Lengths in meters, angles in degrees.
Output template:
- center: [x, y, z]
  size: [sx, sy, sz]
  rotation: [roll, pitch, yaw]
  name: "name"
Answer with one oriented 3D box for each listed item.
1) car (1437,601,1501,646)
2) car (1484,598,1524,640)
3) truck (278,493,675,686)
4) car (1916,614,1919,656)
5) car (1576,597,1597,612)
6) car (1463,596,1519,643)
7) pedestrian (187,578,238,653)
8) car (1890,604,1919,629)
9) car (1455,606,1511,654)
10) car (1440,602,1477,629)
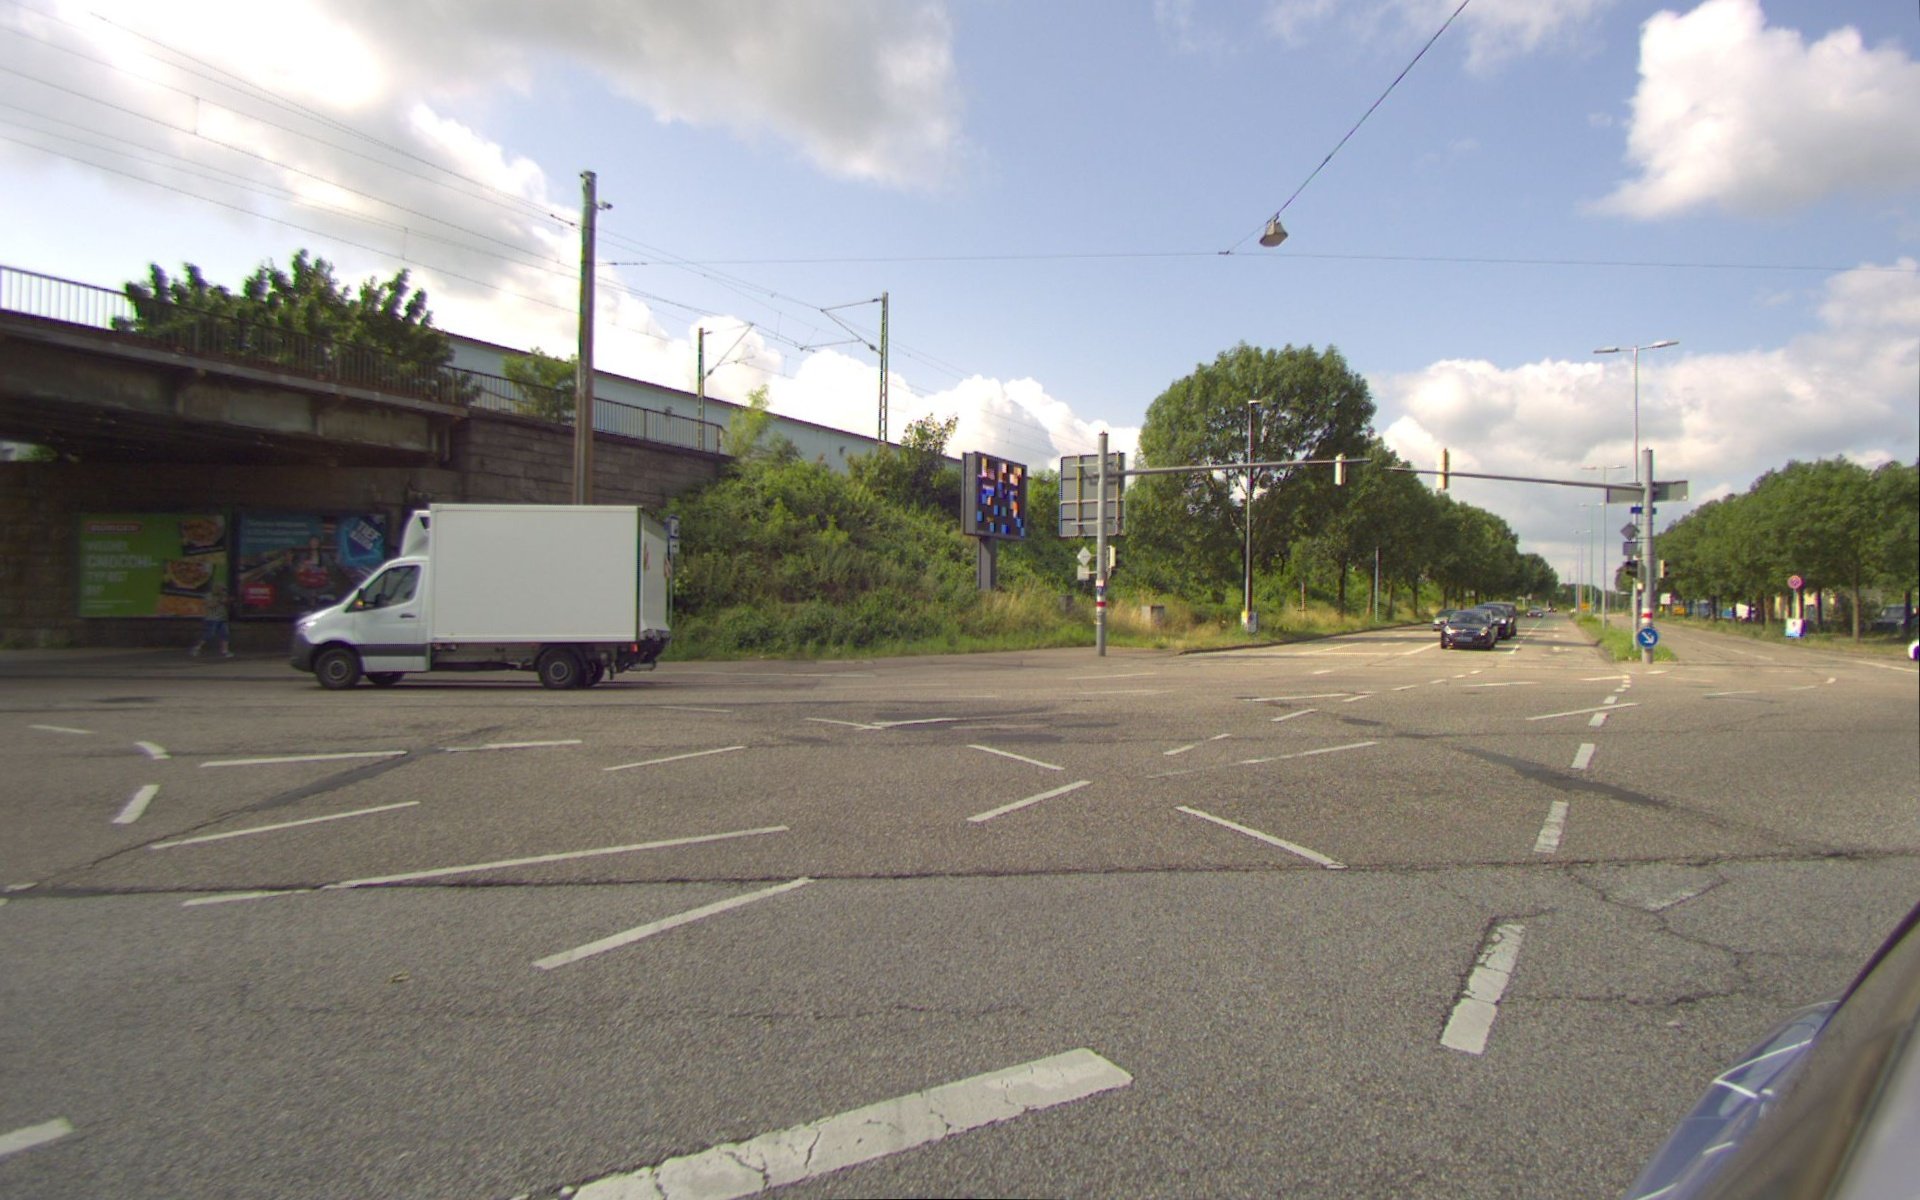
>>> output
- center: [19.313, 0.852, 38.308]
  size: [1.730, 1.538, 3.783]
  rotation: [2, 1, 33]
  name: "car"
- center: [29.464, 0.993, 54.763]
  size: [1.630, 1.653, 4.164]
  rotation: [4, 8, 31]
  name: "car"
- center: [-8.362, -0.114, 18.160]
  size: [5.905, 3.162, 2.457]
  rotation: [1, -2, -7]
  name: "truck"
- center: [35.475, 1.305, 34.515]
  size: [1.714, 1.498, 3.805]
  rotation: [3, -1, -25]
  name: "car"
- center: [67.255, 0.444, 108.628]
  size: [1.768, 1.527, 3.956]
  rotation: [2, 1, 31]
  name: "car"
- center: [26.192, 0.920, 49.837]
  size: [1.809, 1.661, 4.749]
  rotation: [4, 8, 34]
  name: "car"
- center: [-17.355, 0.348, 23.499]
  size: [0.681, 1.670, 0.608]
  rotation: [1, 4, 11]
  name: "pedestrian"
- center: [65.586, 1.124, 69.932]
  size: [1.774, 1.626, 3.941]
  rotation: [3, 1, 40]
  name: "car"
- center: [22.807, 1.244, 44.068]
  size: [1.960, 1.770, 3.983]
  rotation: [3, 3, 29]
  name: "car"
- center: [31.060, 0.947, 62.981]
  size: [1.704, 1.504, 3.955]
  rotation: [3, 1, 31]
  name: "car"
